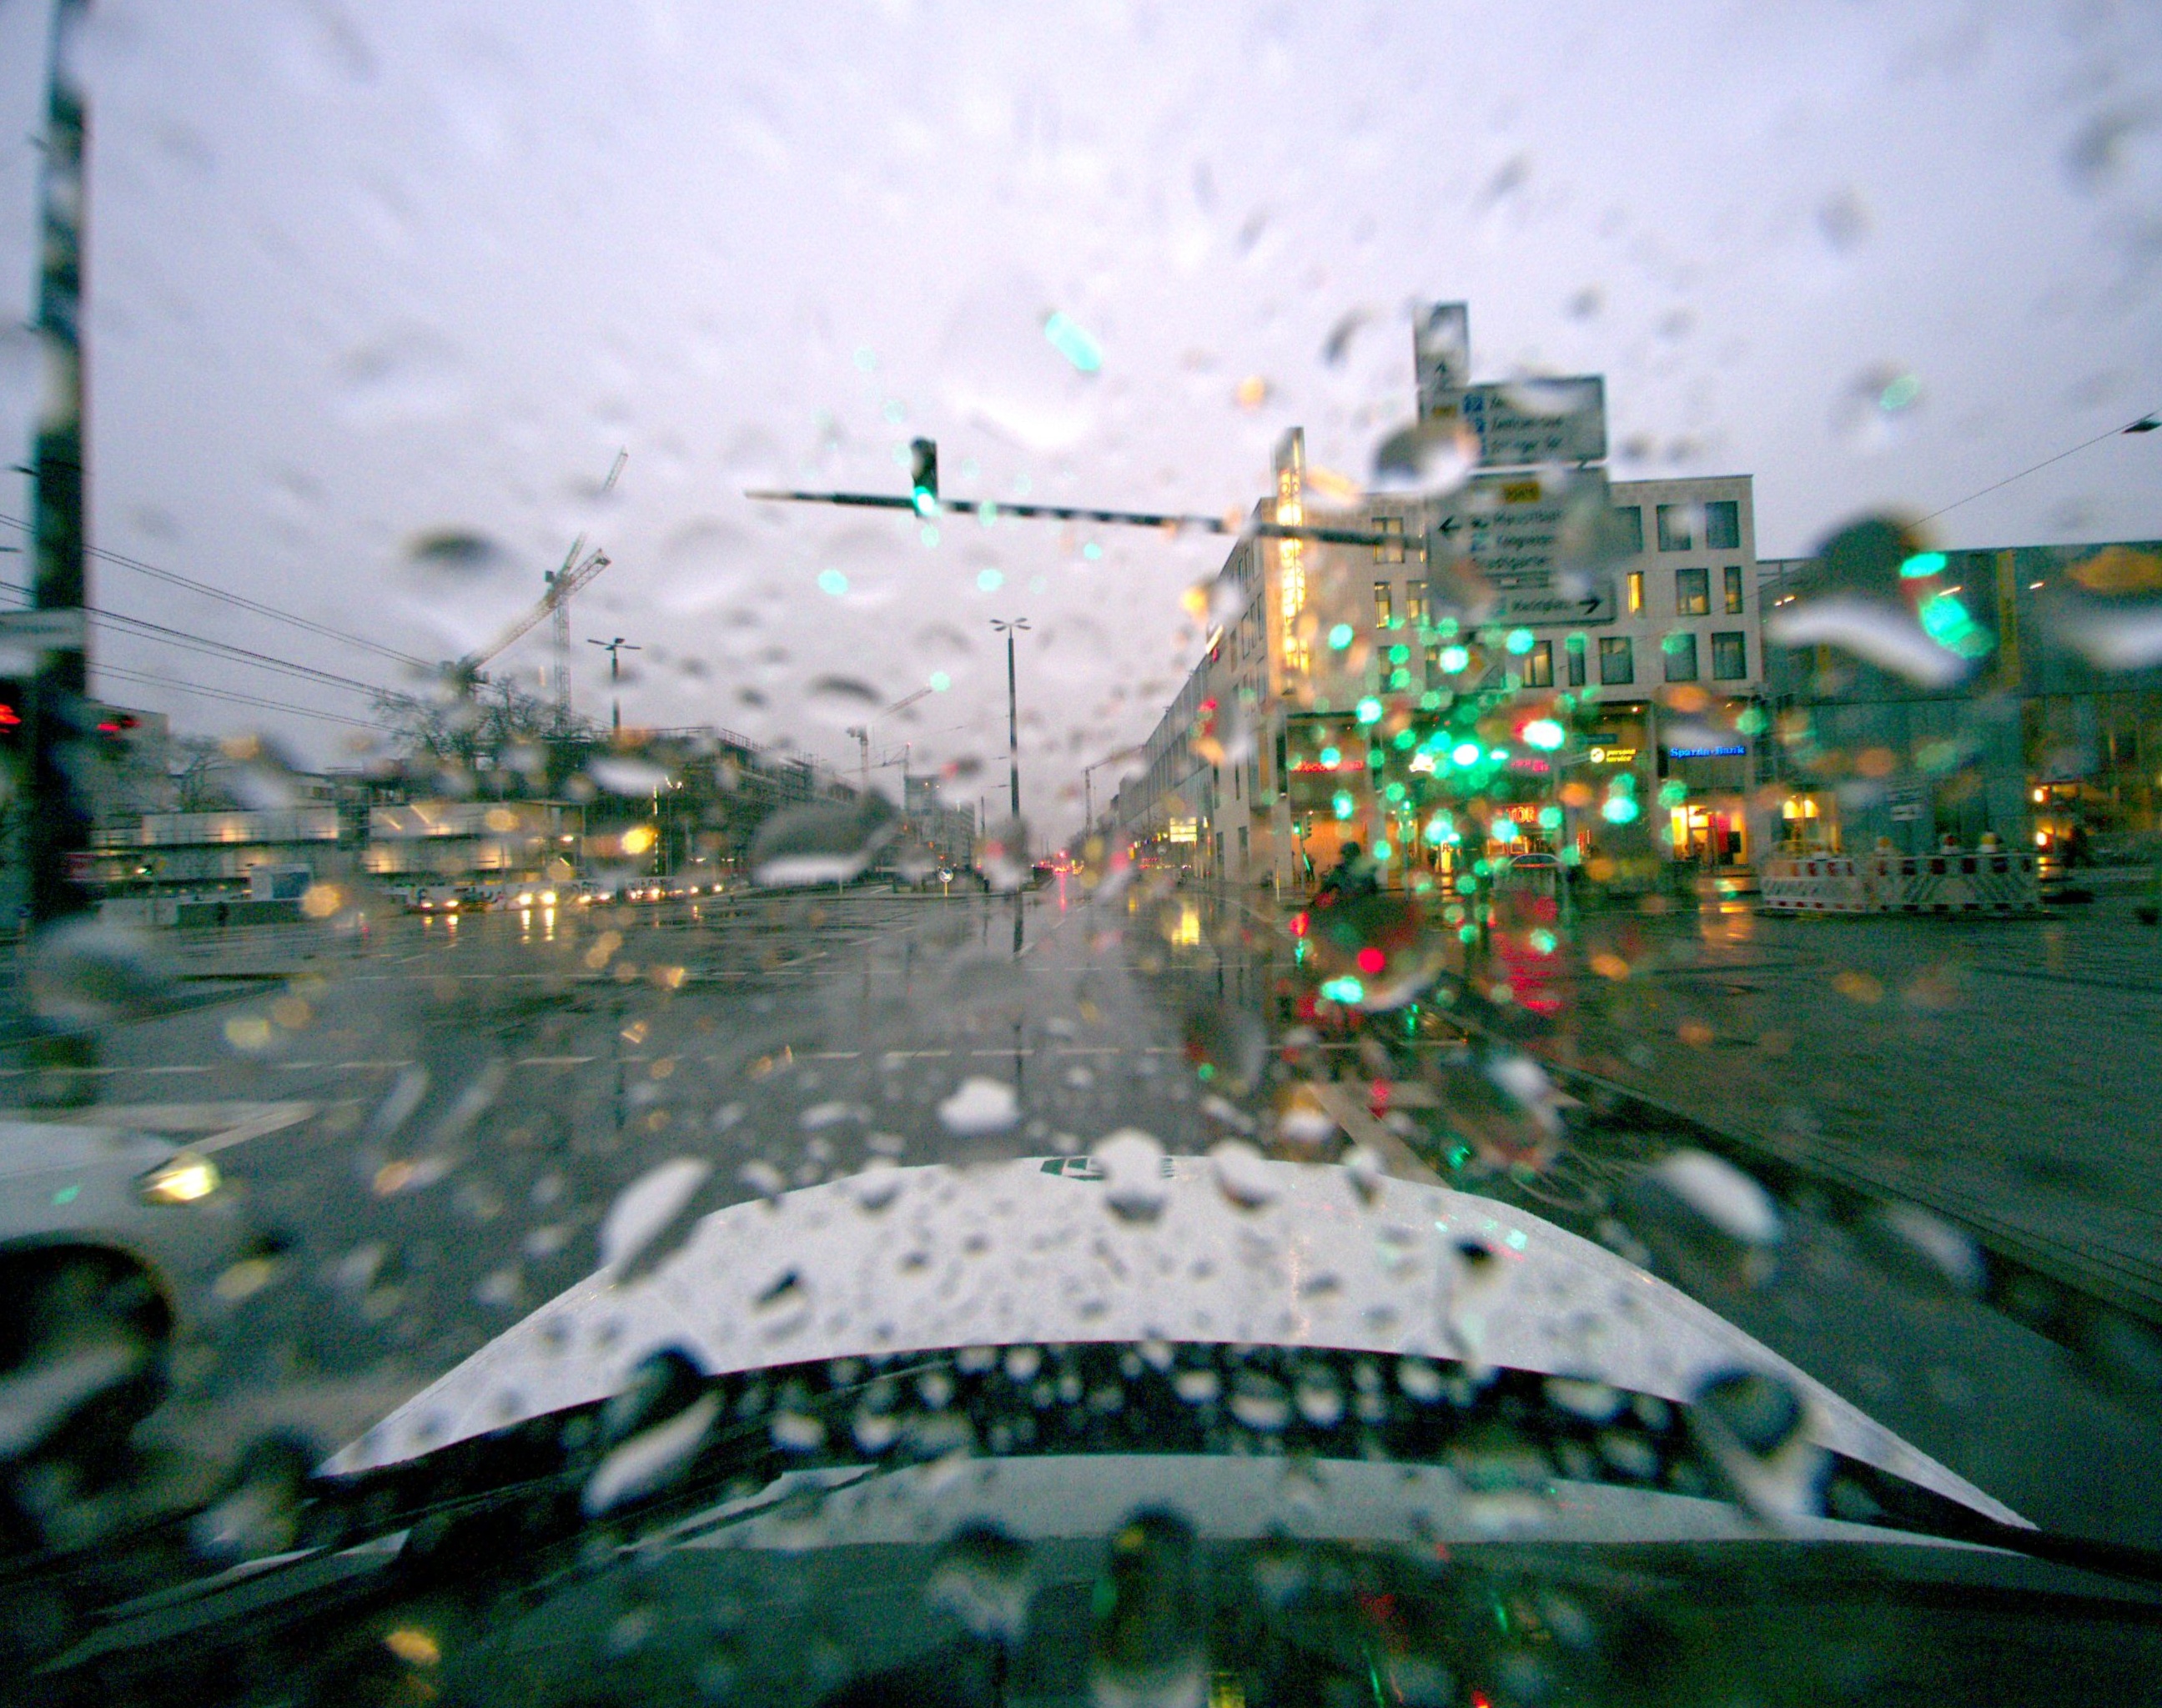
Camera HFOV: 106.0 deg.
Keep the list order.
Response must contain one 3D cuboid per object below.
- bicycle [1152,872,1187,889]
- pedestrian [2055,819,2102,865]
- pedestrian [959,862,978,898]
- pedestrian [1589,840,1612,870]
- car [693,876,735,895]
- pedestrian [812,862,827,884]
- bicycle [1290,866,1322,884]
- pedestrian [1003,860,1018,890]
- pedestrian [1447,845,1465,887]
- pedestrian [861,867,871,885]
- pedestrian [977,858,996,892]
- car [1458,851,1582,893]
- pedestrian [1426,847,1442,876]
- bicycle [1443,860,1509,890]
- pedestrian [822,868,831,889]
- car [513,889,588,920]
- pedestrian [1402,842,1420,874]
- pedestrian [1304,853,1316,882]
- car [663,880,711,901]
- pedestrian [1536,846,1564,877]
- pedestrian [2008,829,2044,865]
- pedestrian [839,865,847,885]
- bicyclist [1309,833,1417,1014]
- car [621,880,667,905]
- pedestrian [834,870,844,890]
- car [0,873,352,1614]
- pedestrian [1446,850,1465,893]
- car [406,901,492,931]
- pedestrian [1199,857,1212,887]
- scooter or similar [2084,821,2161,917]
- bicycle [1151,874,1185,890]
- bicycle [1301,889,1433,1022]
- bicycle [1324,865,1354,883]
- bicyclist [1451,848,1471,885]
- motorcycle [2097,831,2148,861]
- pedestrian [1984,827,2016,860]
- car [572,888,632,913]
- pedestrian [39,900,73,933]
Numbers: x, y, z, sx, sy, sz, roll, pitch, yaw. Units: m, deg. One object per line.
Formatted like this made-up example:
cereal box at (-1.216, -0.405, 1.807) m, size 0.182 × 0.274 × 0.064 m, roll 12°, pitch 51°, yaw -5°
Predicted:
bicycle at (6.524, 1.977, 60.160) m, size 2.434 × 1.154 × 0.674 m, roll -2°, pitch -1°, yaw 0°
pedestrian at (37.009, -0.429, 30.228) m, size 0.737 × 1.684 × 0.783 m, roll -1°, pitch -1°, yaw 7°
pedestrian at (-6.372, 1.451, 46.141) m, size 0.776 × 2.014 × 0.732 m, roll -2°, pitch -2°, yaw 43°
pedestrian at (29.201, 0.059, 45.788) m, size 0.890 × 1.684 × 0.528 m, roll -2°, pitch -2°, yaw 1°
car at (-35.247, 3.002, 78.336) m, size 1.984 × 1.791 × 4.006 m, roll -1°, pitch -1°, yaw 6°
pedestrian at (-24.122, 1.787, 75.140) m, size 0.938 × 2.014 × 1.095 m, roll -1°, pitch -1°, yaw 3°
bicycle at (13.555, 1.277, 49.033) m, size 1.765 × 1.070 × 0.523 m, roll 0°, pitch -1°, yaw -7°
pedestrian at (-4.016, 1.204, 46.386) m, size 0.605 × 1.686 × 0.581 m, roll -2°, pitch -2°, yaw 43°
pedestrian at (22.043, 0.721, 47.923) m, size 0.687 × 2.441 × 0.758 m, roll 0°, pitch -1°, yaw 1°
pedestrian at (-24.509, 2.481, 92.807) m, size 0.942 × 2.014 × 1.090 m, roll 0°, pitch -1°, yaw -9°
pedestrian at (-5.271, 1.161, 45.249) m, size 0.826 × 1.832 × 0.778 m, roll 0°, pitch -2°, yaw -29°
car at (17.756, 0.729, 33.113) m, size 3.971 × 1.618 × 2.001 m, roll -1°, pitch -1°, yaw 2°
pedestrian at (21.576, 0.481, 49.736) m, size 0.728 × 1.718 × 0.743 m, roll -3°, pitch -2°, yaw 29°
bicycle at (19.054, 1.008, 39.319) m, size 2.706 × 1.359 × 0.957 m, roll -2°, pitch -1°, yaw -2°
pedestrian at (-23.823, 2.296, 76.299) m, size 0.696 × 1.881 × 0.553 m, roll 0°, pitch -1°, yaw 1°
car at (-33.081, 3.116, 50.920) m, size 1.986 × 1.657 × 4.001 m, roll -2°, pitch -1°, yaw 1°
pedestrian at (21.205, 0.289, 52.349) m, size 0.841 × 2.014 × 0.700 m, roll -2°, pitch -1°, yaw 10°
pedestrian at (13.517, 0.801, 48.052) m, size 0.596 × 1.745 × 0.526 m, roll -1°, pitch -1°, yaw 9°
car at (-35.156, 3.237, 72.776) m, size 1.984 × 1.791 × 4.006 m, roll -1°, pitch -1°, yaw 6°
pedestrian at (25.421, 0.408, 44.123) m, size 1.026 × 1.684 × 0.824 m, roll 0°, pitch -1°, yaw 1°
pedestrian at (44.630, -0.339, 38.461) m, size 0.737 × 1.684 × 0.783 m, roll -1°, pitch -1°, yaw 7°
pedestrian at (-23.234, 2.069, 79.612) m, size 0.569 × 1.968 × 0.664 m, roll 1°, pitch -2°, yaw -4°
bicyclist at (2.763, 0.647, 8.066) m, size 0.700 × 1.660 × 0.964 m, roll -2°, pitch -1°, yaw 1°
car at (-35.492, 3.101, 66.268) m, size 1.862 × 1.828 × 3.992 m, roll 0°, pitch -1°, yaw -5°
pedestrian at (-23.375, 2.534, 78.733) m, size 0.762 × 1.898 × 0.763 m, roll 0°, pitch -3°, yaw 1°
car at (-3.235, 0.805, 0.155) m, size 2.010 × 1.487 × 4.560 m, roll -2°, pitch -1°, yaw 1°
pedestrian at (21.480, 1.012, 46.775) m, size 0.712 × 2.441 × 0.758 m, roll 0°, pitch -1°, yaw 1°
car at (-38.239, 3.722, 49.399) m, size 1.986 × 1.530 × 4.001 m, roll -2°, pitch -1°, yaw 1°
pedestrian at (7.275, 1.058, 47.485) m, size 0.634 × 1.709 × 0.573 m, roll -2°, pitch -1°, yaw 1°
scooter or similar at (15.599, 0.210, 11.676) m, size 0.590 × 1.353 × 1.495 m, roll 0°, pitch -1°, yaw 1°
bicycle at (6.508, 2.121, 60.926) m, size 2.417 × 1.099 × 0.711 m, roll -2°, pitch -1°, yaw 0°
bicycle at (2.776, 0.934, 8.101) m, size 0.705 × 1.094 × 1.784 m, roll -1°, pitch 0°, yaw 1°
bicycle at (15.552, 1.194, 49.115) m, size 1.642 × 1.070 × 0.524 m, roll 0°, pitch -1°, yaw -2°
bicyclist at (21.177, 0.708, 45.396) m, size 0.913 × 2.014 × 0.912 m, roll -2°, pitch -1°, yaw 24°
motorcycle at (48.050, -0.368, 37.591) m, size 1.482 × 1.353 × 0.595 m, roll -1°, pitch -1°, yaw 5°
pedestrian at (47.210, -0.545, 41.850) m, size 0.737 × 1.684 × 0.783 m, roll -1°, pitch -1°, yaw 7°
car at (-34.499, 3.315, 58.844) m, size 2.074 × 1.530 × 4.602 m, roll -2°, pitch -1°, yaw -8°
pedestrian at (-61.385, 3.732, 48.770) m, size 0.921 × 1.934 × 0.816 m, roll 0°, pitch -1°, yaw -5°
